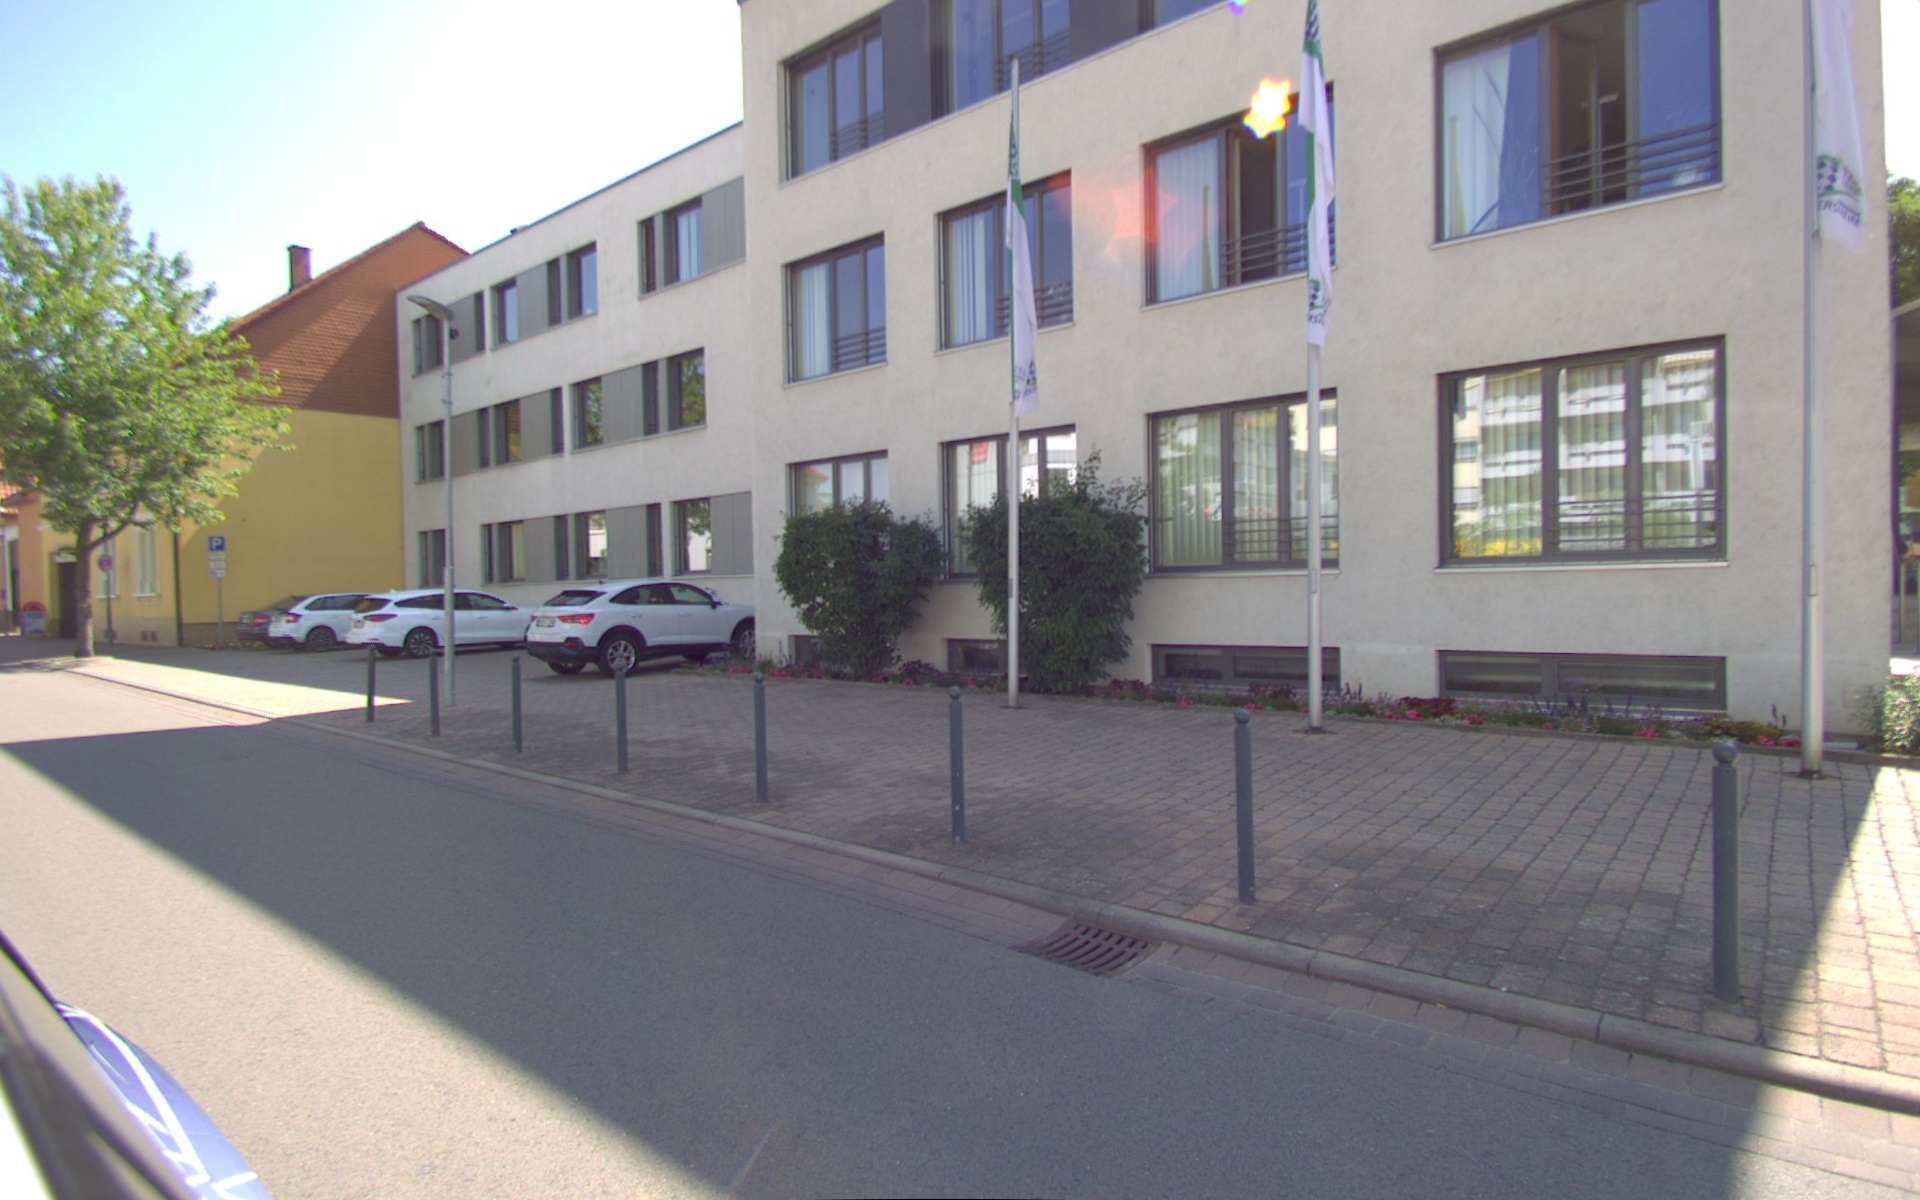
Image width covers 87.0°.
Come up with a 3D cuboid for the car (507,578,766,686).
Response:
[{"bbox_3d":[-5.462,0.463,17.497,1.747,1.559,3.949,-1,2,38],"label":"car"}]

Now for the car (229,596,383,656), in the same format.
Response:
[{"bbox_3d":[-17.619,0.658,27.364,1.373,1.412,3.218,-1,2,38],"label":"car"}]

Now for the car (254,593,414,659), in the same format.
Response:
[{"bbox_3d":[-15.966,0.622,25.898,1.642,1.461,3.099,-1,2,41],"label":"car"}]

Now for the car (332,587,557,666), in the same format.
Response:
[{"bbox_3d":[-11.602,0.526,23.030,1.512,1.490,4.270,0,2,40],"label":"car"}]
